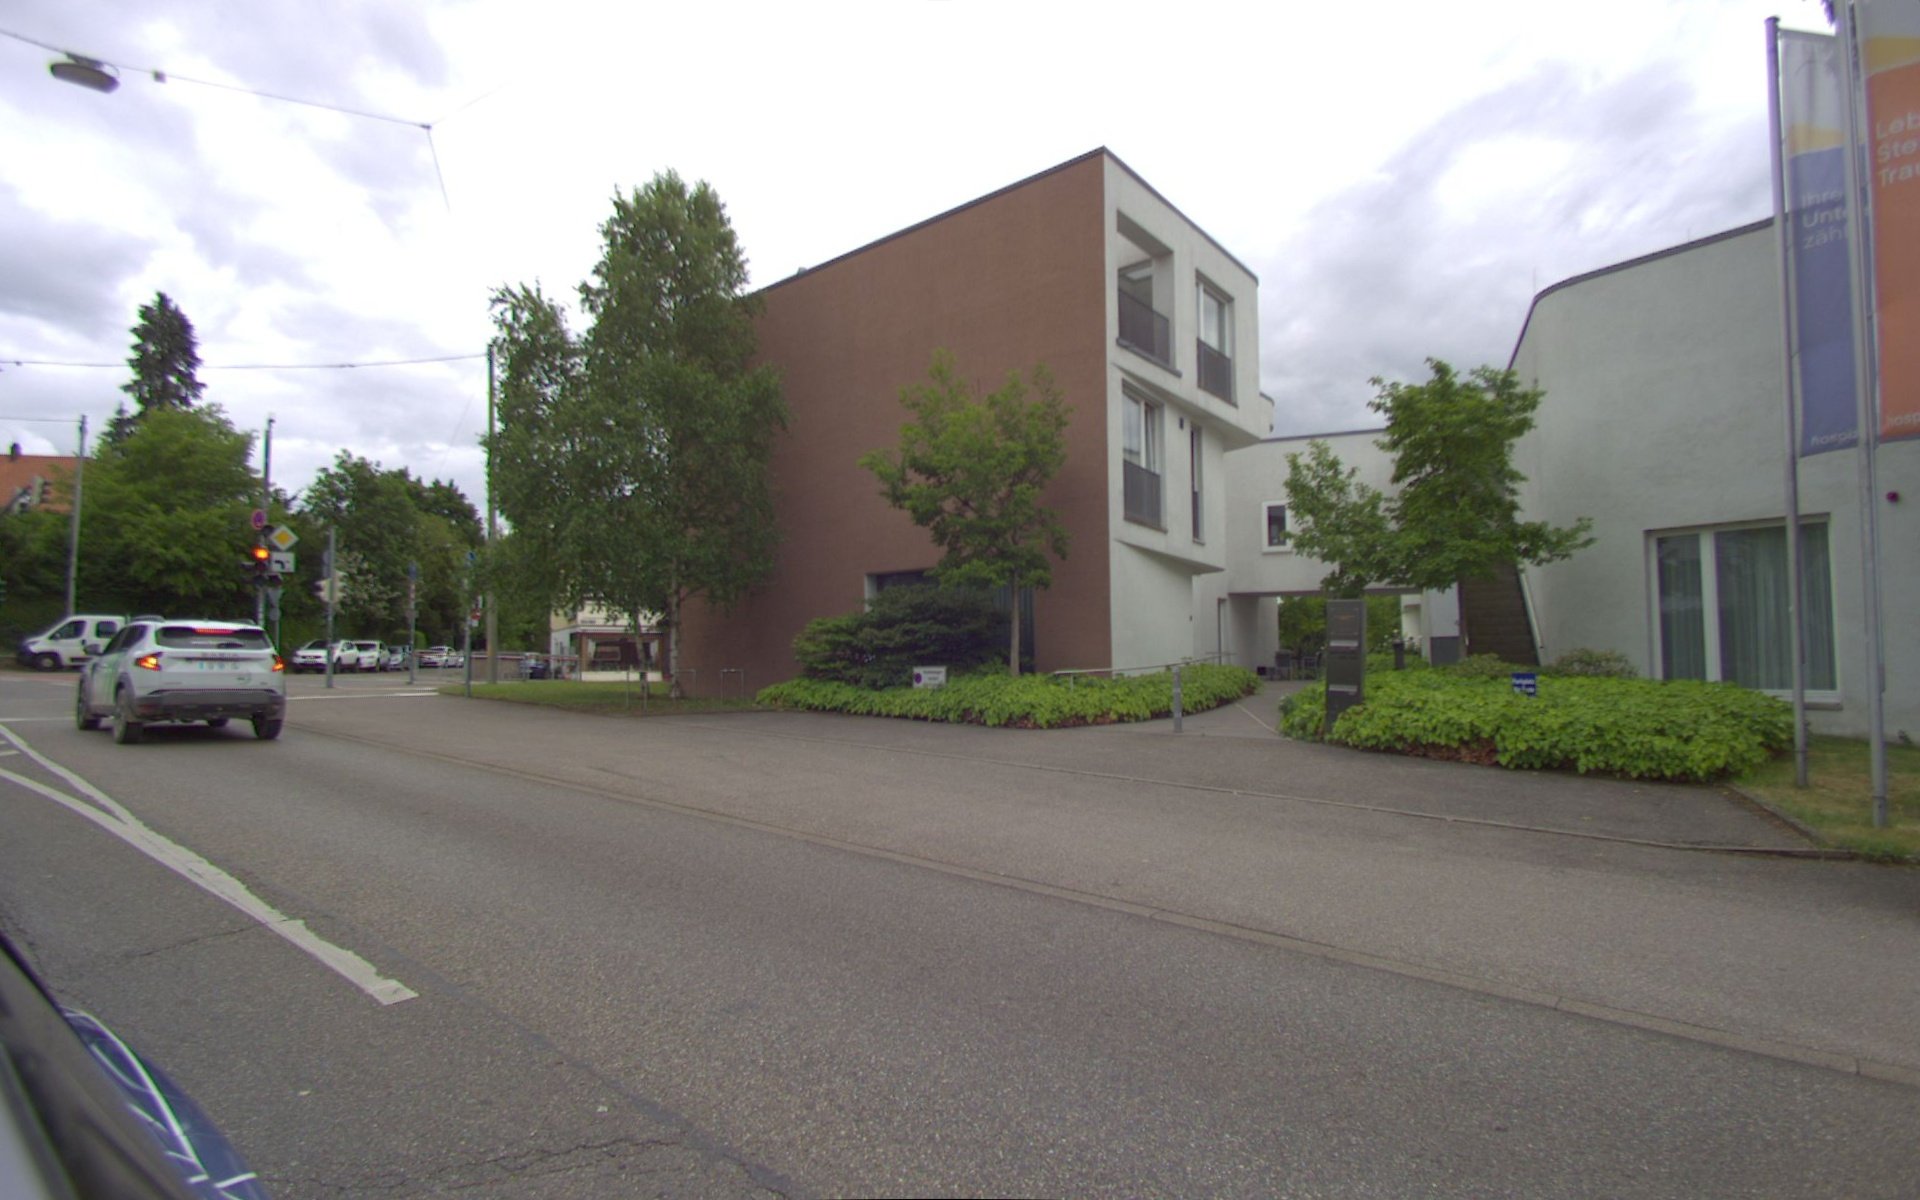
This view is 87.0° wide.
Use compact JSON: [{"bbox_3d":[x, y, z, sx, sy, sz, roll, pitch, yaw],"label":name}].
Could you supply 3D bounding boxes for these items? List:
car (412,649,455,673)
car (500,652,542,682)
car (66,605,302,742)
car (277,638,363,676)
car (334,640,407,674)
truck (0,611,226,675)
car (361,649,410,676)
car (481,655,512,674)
[{"bbox_3d":[-37.566,4.339,72.320,1.841,1.599,3.741,2,-3,-14],"label":"car"},{"bbox_3d":[-22.560,3.427,51.990,1.848,1.460,4.013,3,-4,-24],"label":"car"},{"bbox_3d":[-11.063,0.997,14.323,4.300,1.650,1.750,-1,-6,41],"label":"car"},{"bbox_3d":[-29.653,2.667,47.056,1.967,1.625,4.008,2,-4,-11],"label":"car"},{"bbox_3d":[-30.553,2.978,52.601,1.967,1.625,4.008,2,-4,-11],"label":"car"},{"bbox_3d":[-32.889,1.720,39.561,6.609,2.205,2.535,5,-4,-38],"label":"truck"},{"bbox_3d":[-32.893,3.554,58.066,1.840,1.464,3.742,1,-3,-20],"label":"car"},{"bbox_3d":[-41.596,5.767,90.969,1.841,1.599,3.740,2,-4,-14],"label":"car"}]
